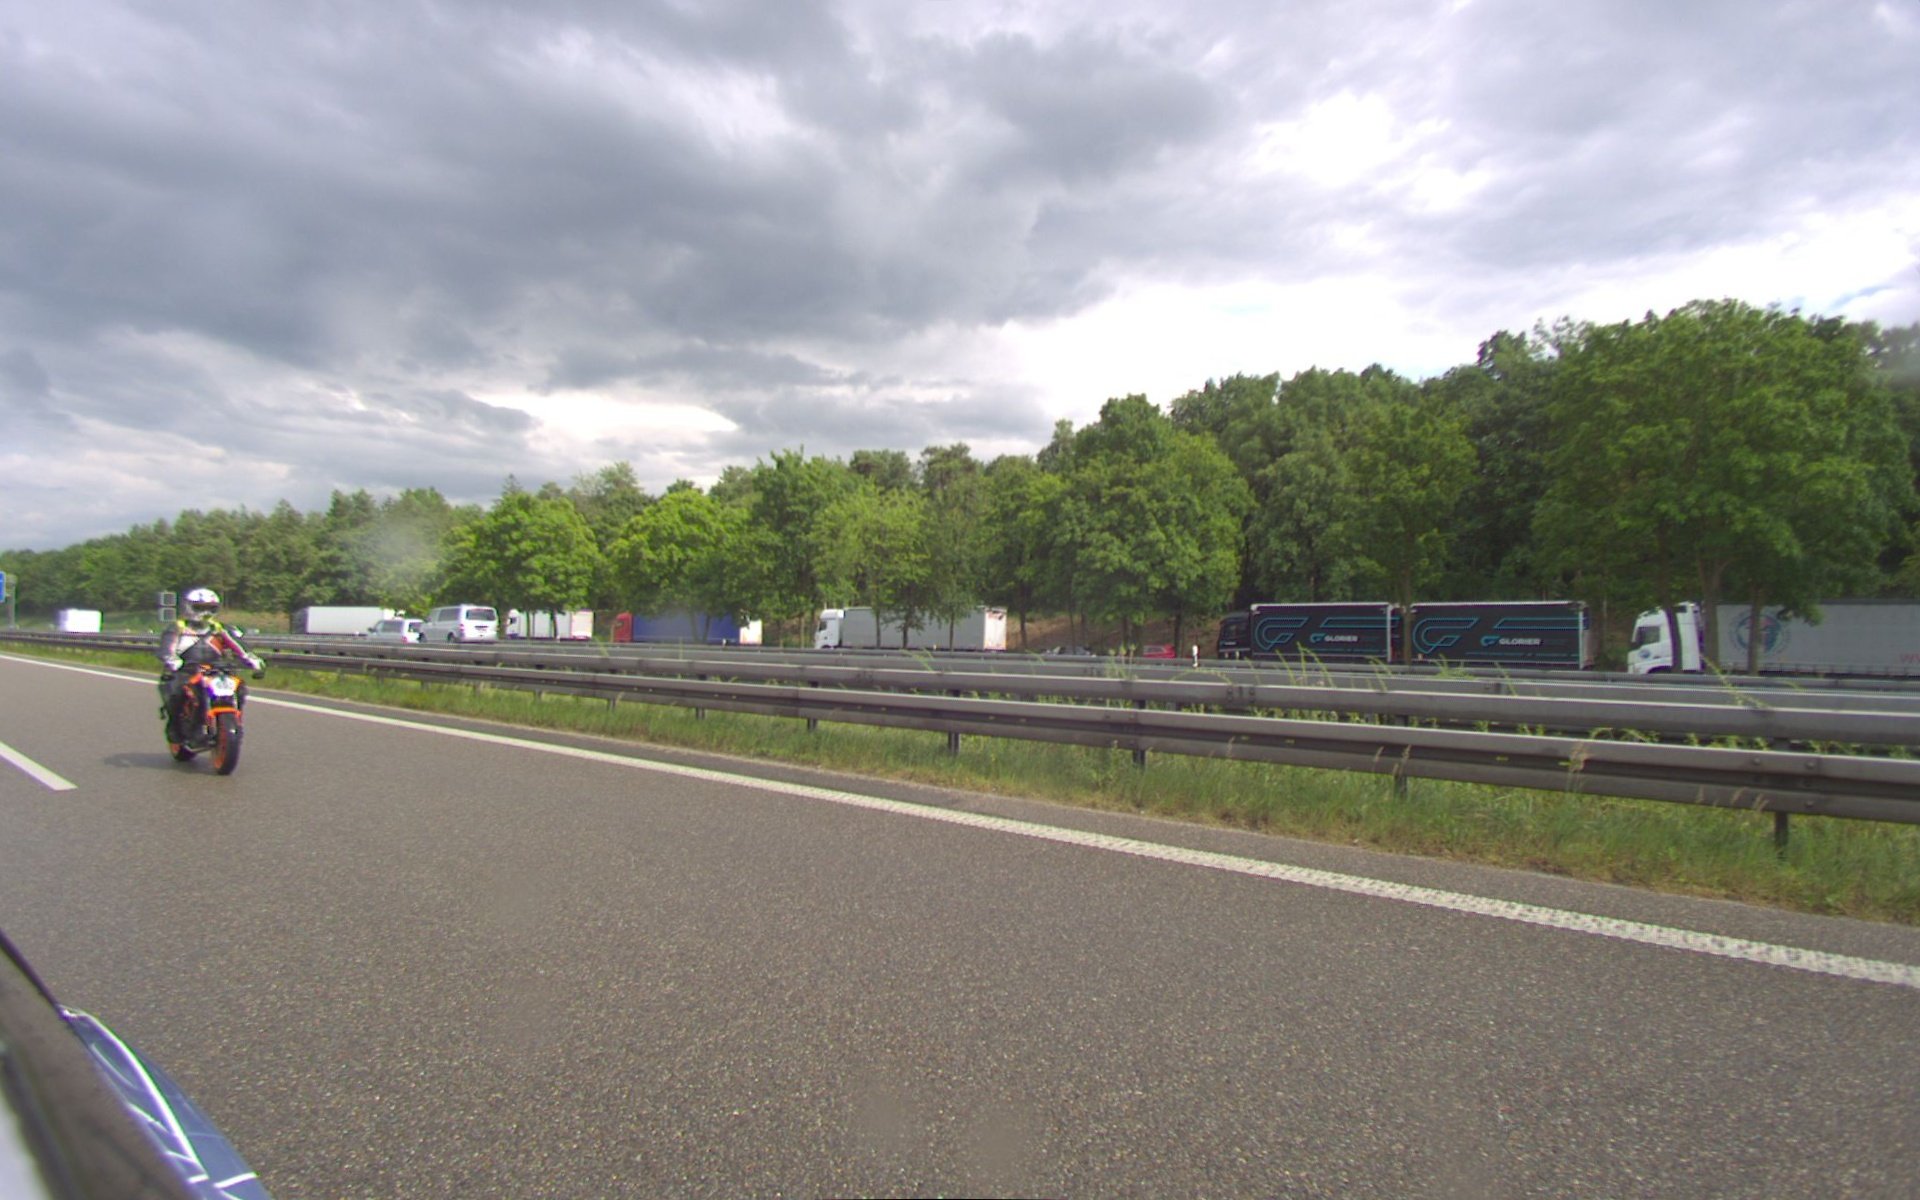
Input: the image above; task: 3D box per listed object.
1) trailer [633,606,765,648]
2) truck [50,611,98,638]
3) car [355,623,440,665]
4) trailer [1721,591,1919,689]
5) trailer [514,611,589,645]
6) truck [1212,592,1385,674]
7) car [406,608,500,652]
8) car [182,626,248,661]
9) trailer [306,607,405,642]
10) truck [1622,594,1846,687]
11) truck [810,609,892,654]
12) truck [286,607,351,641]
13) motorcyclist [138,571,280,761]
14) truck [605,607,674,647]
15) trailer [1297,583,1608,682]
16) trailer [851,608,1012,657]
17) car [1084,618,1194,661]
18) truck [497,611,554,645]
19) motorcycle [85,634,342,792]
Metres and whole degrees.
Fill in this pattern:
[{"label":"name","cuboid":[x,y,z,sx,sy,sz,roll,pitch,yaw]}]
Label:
[{"label":"trailer","cuboid":[-22.664,2.304,87.183,13.388,3.431,2.800,-1,-2,34]},{"label":"truck","cuboid":[-92.239,2.497,105.291,7.188,2.702,2.813,-1,0,41]},{"label":"car","cuboid":[-28.232,2.147,50.705,5.256,1.905,2.026,-1,0,40]},{"label":"trailer","cuboid":[37.922,1.534,39.109,13.340,3.677,3.749,-1,-2,42]},{"label":"trailer","cuboid":[-39.454,2.679,97.765,7.712,3.257,2.561,-1,-2,31]},{"label":"truck","cuboid":[18.860,1.739,56.716,8.413,4.266,3.748,-1,0,41]},{"label":"car","cuboid":[-23.555,1.331,46.942,5.256,1.905,2.026,-1,0,40]},{"label":"car","cuboid":[-44.926,2.576,60.971,5.256,1.905,2.026,-1,0,40]},{"label":"trailer","cuboid":[-67.256,2.707,112.473,12.504,3.767,3.185,-1,-2,27]},{"label":"truck","cuboid":[33.071,1.604,43.431,7.351,3.616,3.748,-1,0,41]},{"label":"truck","cuboid":[-8.431,2.374,77.835,5.498,3.298,3.322,-1,0,37]},{"label":"truck","cuboid":[-73.130,2.751,115.382,6.880,3.732,3.189,-1,0,26]},{"label":"motorcyclist","cuboid":[-7.285,0.599,9.815,0.999,1.719,0.872,-1,0,38]},{"label":"truck","cuboid":[-28.949,2.415,91.385,5.880,3.482,2.838,-1,0,33]},{"label":"trailer","cuboid":[24.656,1.606,51.662,13.796,4.439,3.749,-1,-2,42]},{"label":"trailer","cuboid":[-2.270,2.315,72.973,12.458,3.241,3.315,-1,-2,38]},{"label":"car","cuboid":[11.076,2.395,62.877,6.207,2.501,2.764,-1,0,41]},{"label":"truck","cuboid":[-42.759,2.726,99.633,5.066,3.292,2.636,-1,0,30]},{"label":"motorcycle","cuboid":[-7.317,0.989,9.836,3.189,1.235,1.174,-1,0,37]}]
